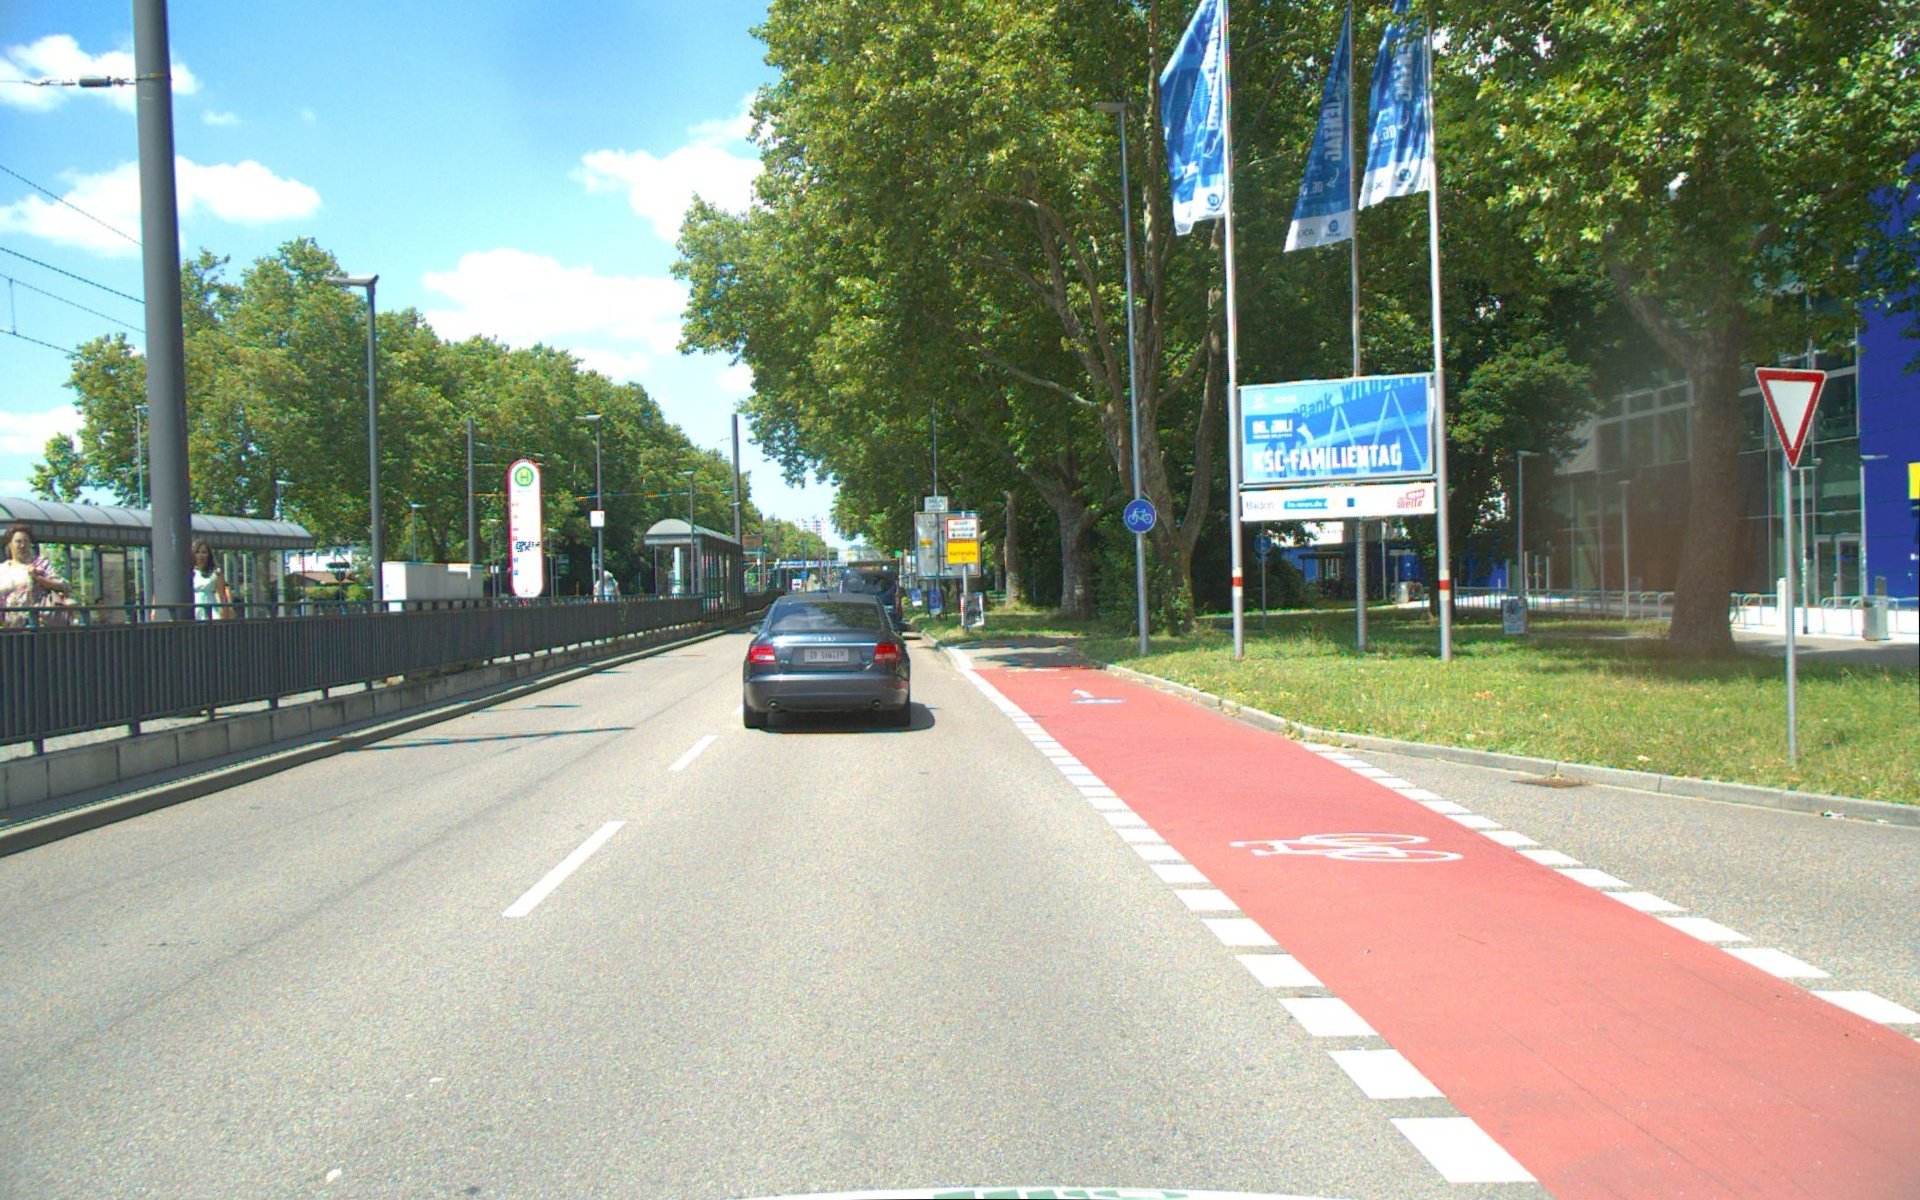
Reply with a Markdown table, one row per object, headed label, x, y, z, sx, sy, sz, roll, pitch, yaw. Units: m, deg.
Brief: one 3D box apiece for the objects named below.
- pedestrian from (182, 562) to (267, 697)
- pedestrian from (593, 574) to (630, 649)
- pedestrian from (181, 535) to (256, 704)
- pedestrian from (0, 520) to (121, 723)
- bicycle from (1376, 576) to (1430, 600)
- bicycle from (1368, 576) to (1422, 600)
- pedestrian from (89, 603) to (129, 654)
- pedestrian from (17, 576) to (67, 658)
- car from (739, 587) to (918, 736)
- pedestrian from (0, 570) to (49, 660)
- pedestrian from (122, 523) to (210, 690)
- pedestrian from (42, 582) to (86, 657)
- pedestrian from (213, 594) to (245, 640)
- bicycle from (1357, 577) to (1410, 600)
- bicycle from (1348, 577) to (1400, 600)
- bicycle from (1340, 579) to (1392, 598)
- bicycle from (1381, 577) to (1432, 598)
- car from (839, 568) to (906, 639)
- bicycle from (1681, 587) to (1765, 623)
| label | x | y | z | sx | sy | sz | roll | pitch | yaw |
| --- | --- | --- | --- | --- | --- | --- | --- | --- | --- |
| pedestrian | -7.645 | 0.298 | 17.213 | 0.601 | 1.368 | 0.719 | 0 | 0 | -4 |
| pedestrian | -8.010 | 0.256 | 38.014 | 0.718 | 1.694 | 0.741 | 0 | 0 | -4 |
| pedestrian | -7.223 | 0.184 | 16.126 | 0.487 | 1.605 | 0.556 | -1 | 0 | -4 |
| pedestrian | -7.668 | 0.173 | 13.805 | 0.873 | 1.633 | 0.923 | -1 | 0 | -4 |
| bicycle | 21.752 | -0.605 | 81.204 | 2.497 | 1.130 | 0.757 | -1 | 0 | -8 |
| bicycle | 21.627 | -0.602 | 82.240 | 2.497 | 1.130 | 0.757 | -1 | 0 | -8 |
| pedestrian | -18.892 | 0.631 | 36.728 | 0.565 | 1.114 | 0.639 | -1 | 0 | -2 |
| pedestrian | -18.916 | 0.344 | 34.073 | 0.811 | 1.667 | 0.576 | -1 | 0 | 35 |
| car | -1.454 | 0.611 | 18.787 | 1.806 | 1.510 | 3.997 | 0 | 0 | -4 |
| pedestrian | -18.467 | 0.293 | 32.652 | 0.723 | 1.759 | 0.576 | -1 | 0 | 35 |
| pedestrian | -8.310 | 0.069 | 17.328 | 0.601 | 1.711 | 0.719 | 0 | 0 | -5 |
| pedestrian | -18.880 | 0.401 | 34.846 | 0.565 | 1.560 | 0.639 | -1 | 0 | -2 |
| pedestrian | -19.576 | 0.449 | 44.272 | 0.565 | 1.211 | 0.639 | -1 | 0 | -2 |
| bicycle | 21.326 | -0.600 | 83.301 | 2.497 | 1.130 | 0.757 | -1 | 0 | -8 |
| bicycle | 21.184 | -0.596 | 84.586 | 2.497 | 1.130 | 0.757 | -1 | 0 | -8 |
| bicycle | 21.063 | -0.592 | 85.850 | 2.497 | 0.987 | 0.757 | -1 | 0 | -8 |
| bicycle | 21.642 | -0.610 | 80.102 | 2.272 | 0.977 | 0.757 | -1 | 0 | -8 |
| car | -2.544 | 0.084 | 48.817 | 1.811 | 1.994 | 4.143 | 0 | 0 | -1 |
| bicycle | 21.710 | 0.124 | 47.057 | 2.020 | 0.986 | 0.867 | -1 | 0 | -7 |
